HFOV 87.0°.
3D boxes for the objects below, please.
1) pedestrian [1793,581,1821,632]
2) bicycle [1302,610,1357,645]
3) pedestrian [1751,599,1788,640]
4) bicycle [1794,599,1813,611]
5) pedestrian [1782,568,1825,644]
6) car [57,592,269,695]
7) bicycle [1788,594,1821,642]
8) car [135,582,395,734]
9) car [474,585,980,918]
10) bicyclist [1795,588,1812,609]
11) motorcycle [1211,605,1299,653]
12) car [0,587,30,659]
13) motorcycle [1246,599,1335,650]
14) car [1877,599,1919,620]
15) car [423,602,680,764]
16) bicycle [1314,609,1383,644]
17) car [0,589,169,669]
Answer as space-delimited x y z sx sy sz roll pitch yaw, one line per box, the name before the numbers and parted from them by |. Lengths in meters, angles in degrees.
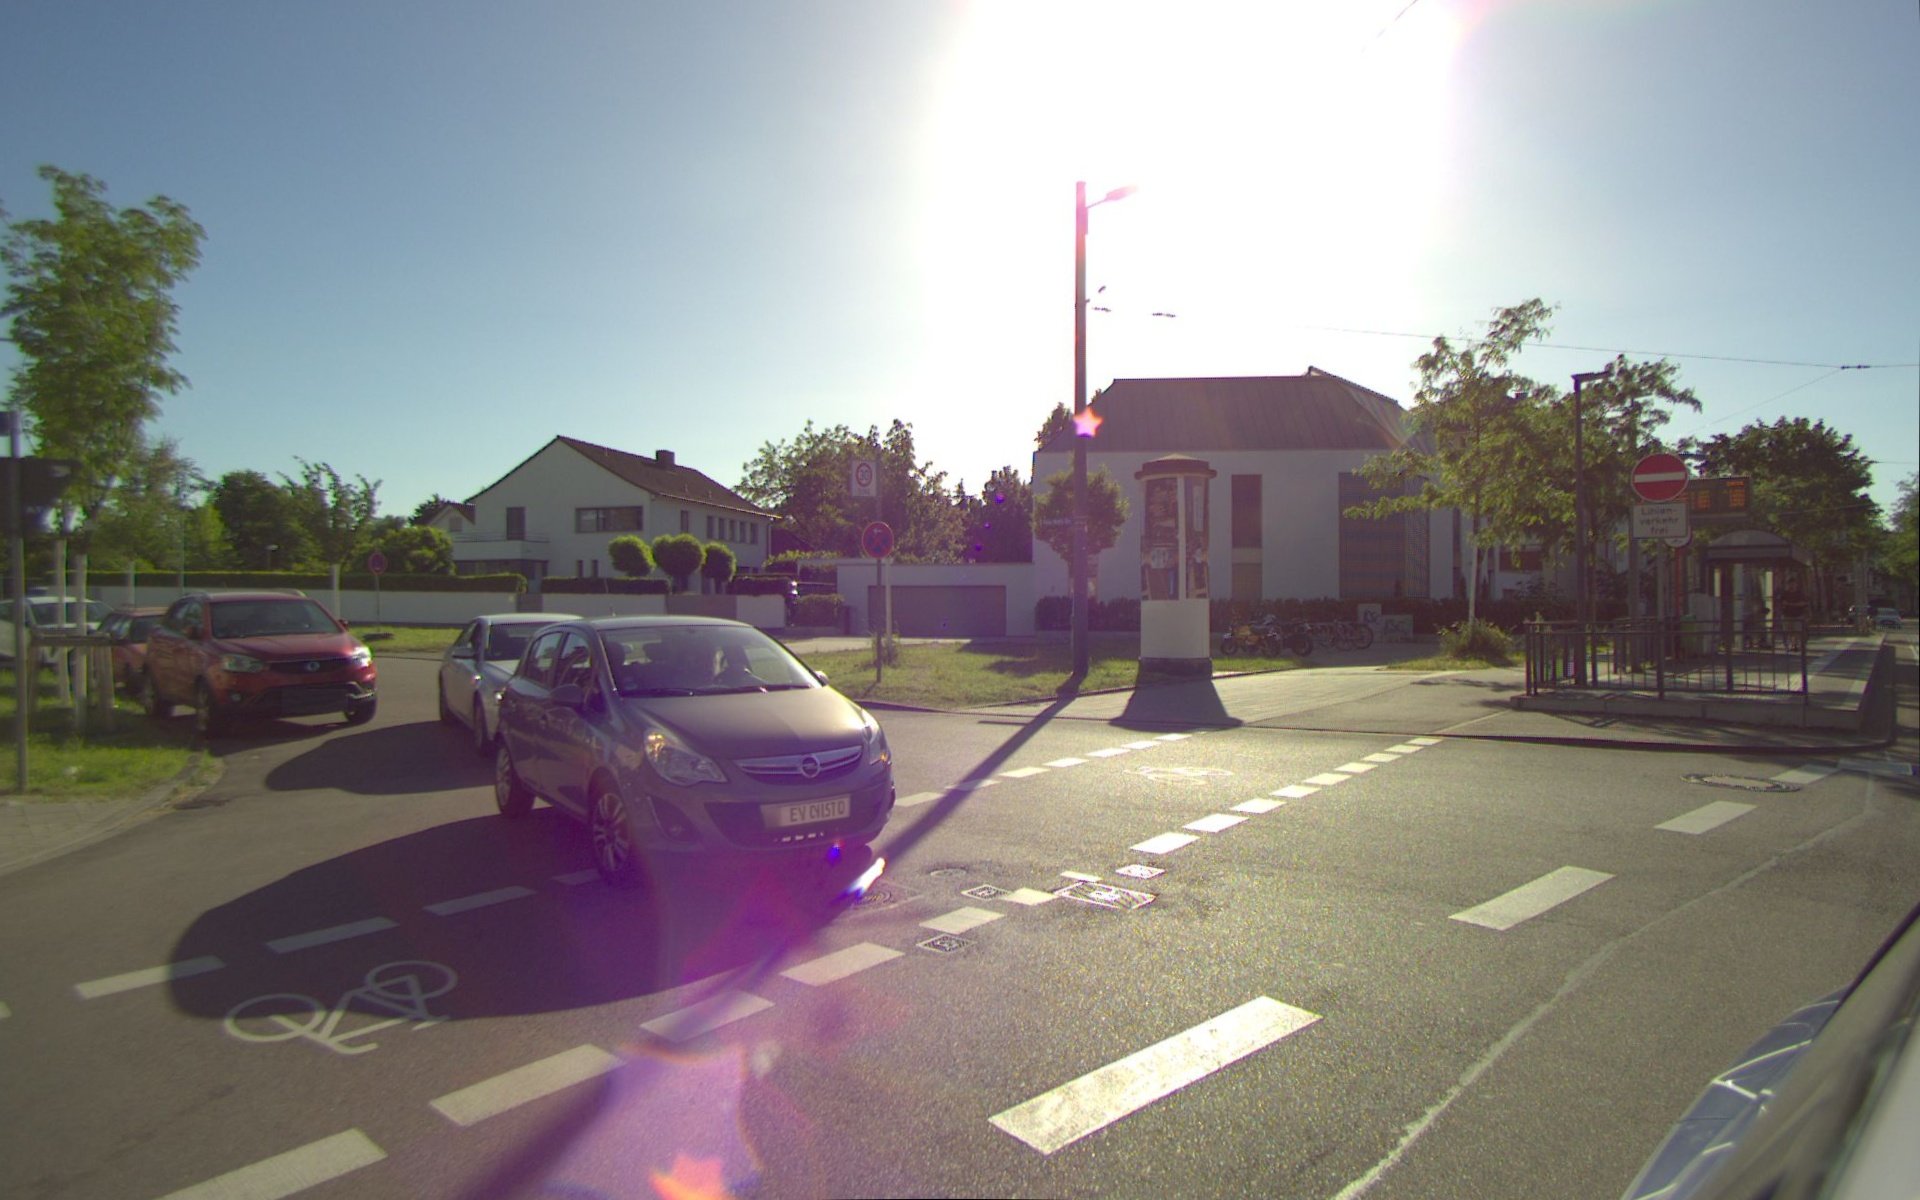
pedestrian | 29.276 0.233 34.980 0.671 1.726 0.680 -3 -2 43
bicycle | 10.785 0.796 29.538 1.466 0.991 0.410 0 0 38
pedestrian | 22.890 0.559 28.603 0.738 1.132 0.648 -3 -2 43
bicycle | 61.453 0.363 73.733 2.161 0.897 0.825 0 -1 -43
pedestrian | 21.358 0.164 25.611 0.717 1.877 0.711 0 -2 -45
car | -13.473 0.663 17.028 4.155 1.527 1.954 -1 -1 39
bicycle | 22.533 0.466 27.014 0.618 1.245 1.938 -2 -1 39
car | -9.168 0.656 13.222 4.160 1.663 1.952 -1 -1 43
car | -1.842 0.708 6.857 1.945 1.527 3.998 0 -1 -36
bicyclist | 61.472 -0.095 73.759 1.237 1.519 0.817 1 -1 -43
motorcycle | 7.504 0.711 25.798 1.994 1.172 0.850 0 0 38
car | -23.191 0.551 22.706 3.954 1.594 1.984 -2 -2 23
motorcycle | 8.718 0.631 26.753 2.073 1.290 0.850 0 0 38
car | 68.576 0.661 74.042 1.732 1.477 3.647 0 -1 35
car | -5.121 0.804 12.251 1.944 1.484 4.619 -2 1 -34
bicycle | 11.758 0.791 30.639 1.893 0.991 0.484 0 0 38
car | -18.687 0.569 21.081 4.135 1.527 1.963 -1 -1 27
